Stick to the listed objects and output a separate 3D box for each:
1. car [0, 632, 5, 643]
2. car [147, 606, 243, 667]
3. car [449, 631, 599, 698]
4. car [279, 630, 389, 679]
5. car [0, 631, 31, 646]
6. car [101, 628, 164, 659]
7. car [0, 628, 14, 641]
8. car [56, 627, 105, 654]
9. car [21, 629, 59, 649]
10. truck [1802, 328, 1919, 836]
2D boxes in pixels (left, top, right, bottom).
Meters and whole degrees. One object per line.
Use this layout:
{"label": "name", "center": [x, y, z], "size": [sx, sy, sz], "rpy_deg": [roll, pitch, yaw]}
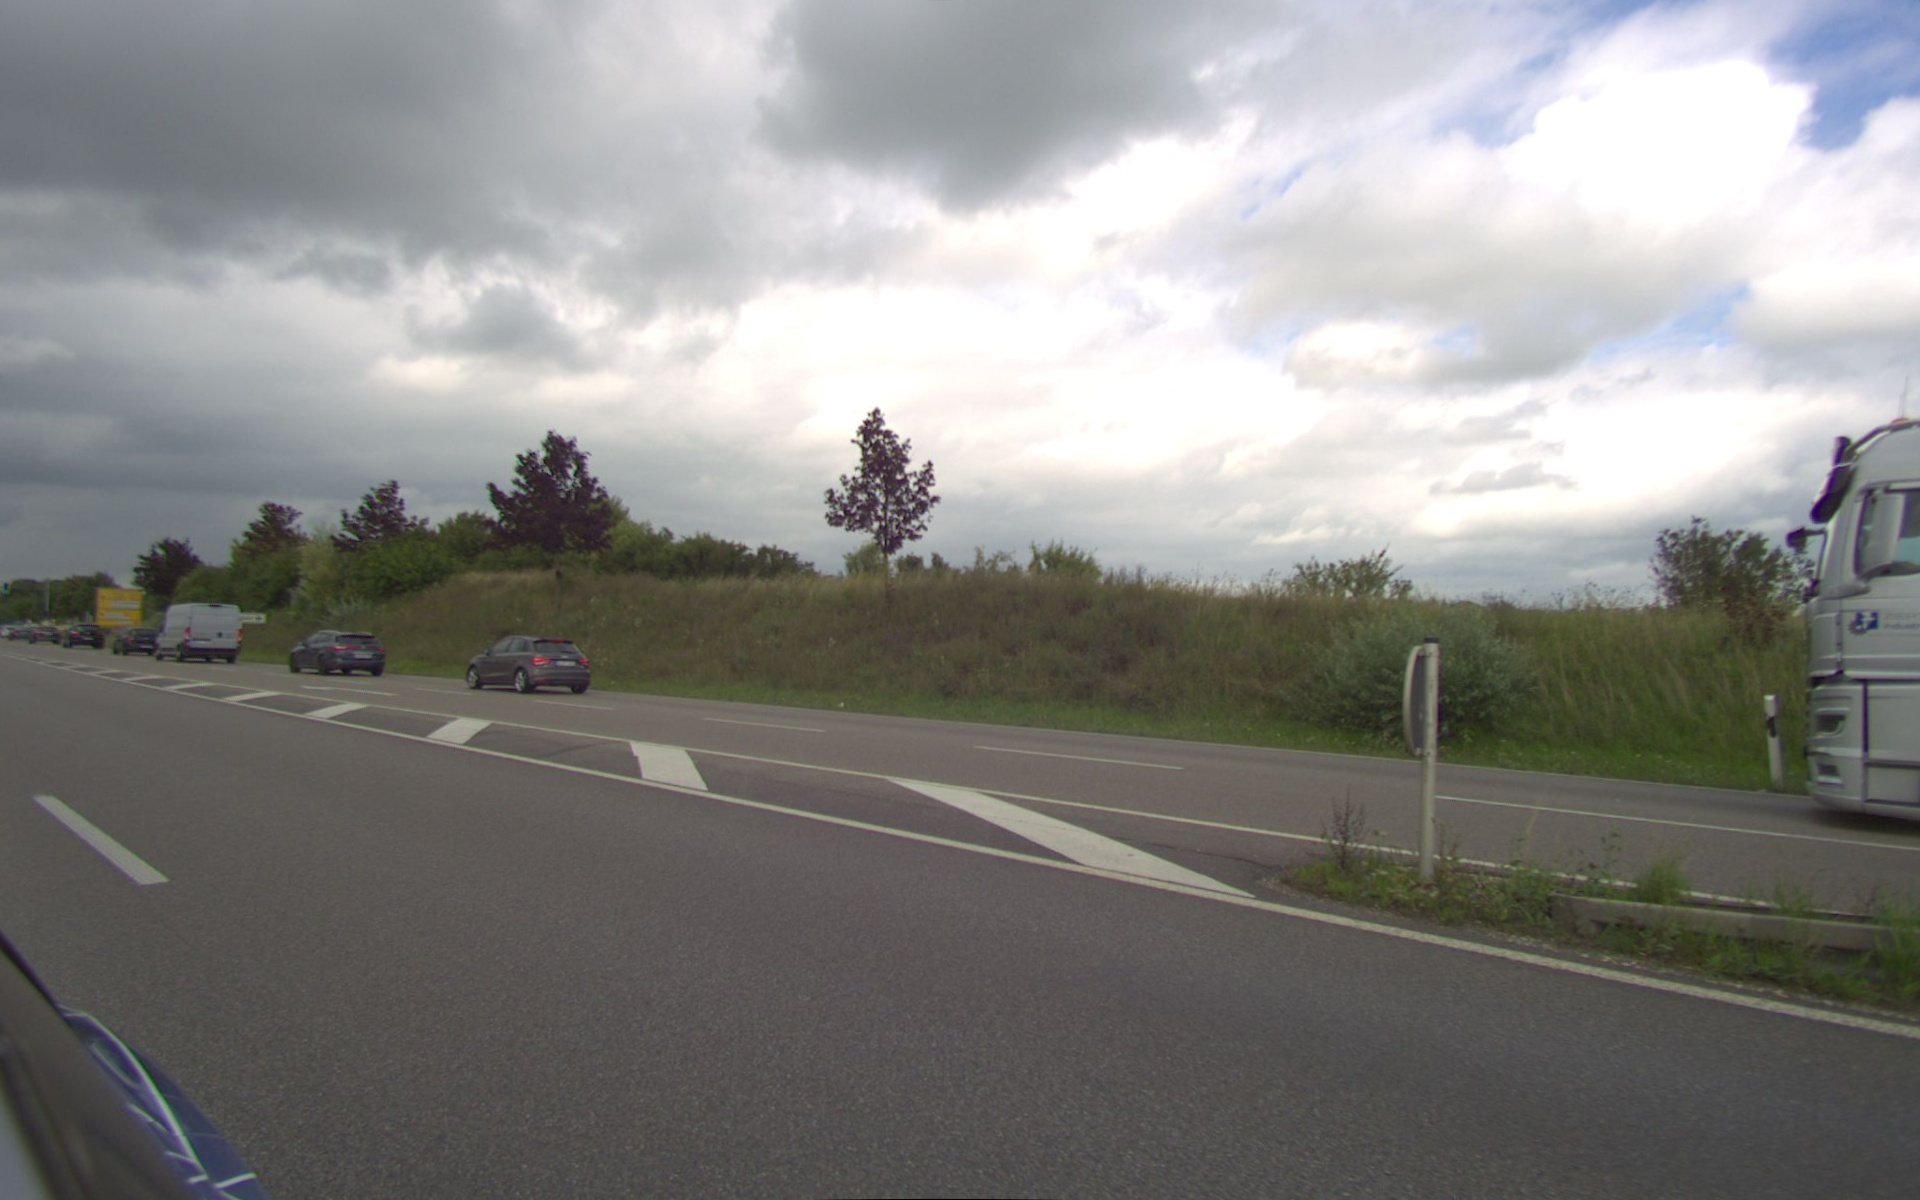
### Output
{"label": "car", "center": [-134.789, 5.226, 141.462], "size": [4.661, 1.492, 1.704], "rpy_deg": [-2, -5, 45]}
{"label": "car", "center": [-33.325, 1.589, 44.015], "size": [5.630, 2.458, 2.012], "rpy_deg": [-2, -5, 40]}
{"label": "car", "center": [-11.046, 1.594, 25.523], "size": [4.190, 1.542, 1.715], "rpy_deg": [-2, -4, 40]}
{"label": "car", "center": [-20.947, 1.813, 33.783], "size": [4.544, 1.542, 1.715], "rpy_deg": [-2, -4, 40]}
{"label": "car", "center": [-93.006, 3.775, 99.659], "size": [4.704, 1.416, 1.775], "rpy_deg": [-2, -6, 42]}
{"label": "car", "center": [-42.987, 2.246, 52.536], "size": [4.190, 1.542, 1.715], "rpy_deg": [-2, -4, 40]}
{"label": "car", "center": [-113.236, 4.087, 119.633], "size": [4.055, 1.425, 1.590], "rpy_deg": [-2, -4, 42]}
{"label": "car", "center": [-57.557, 2.620, 66.220], "size": [4.515, 1.647, 1.775], "rpy_deg": [-2, -6, 42]}
{"label": "car", "center": [-75.466, 3.206, 82.977], "size": [4.704, 1.523, 1.775], "rpy_deg": [-2, -6, 42]}
{"label": "truck", "center": [10.005, -0.155, 7.806], "size": [5.282, 4.028, 2.774], "rpy_deg": [-2, -3, 40]}
